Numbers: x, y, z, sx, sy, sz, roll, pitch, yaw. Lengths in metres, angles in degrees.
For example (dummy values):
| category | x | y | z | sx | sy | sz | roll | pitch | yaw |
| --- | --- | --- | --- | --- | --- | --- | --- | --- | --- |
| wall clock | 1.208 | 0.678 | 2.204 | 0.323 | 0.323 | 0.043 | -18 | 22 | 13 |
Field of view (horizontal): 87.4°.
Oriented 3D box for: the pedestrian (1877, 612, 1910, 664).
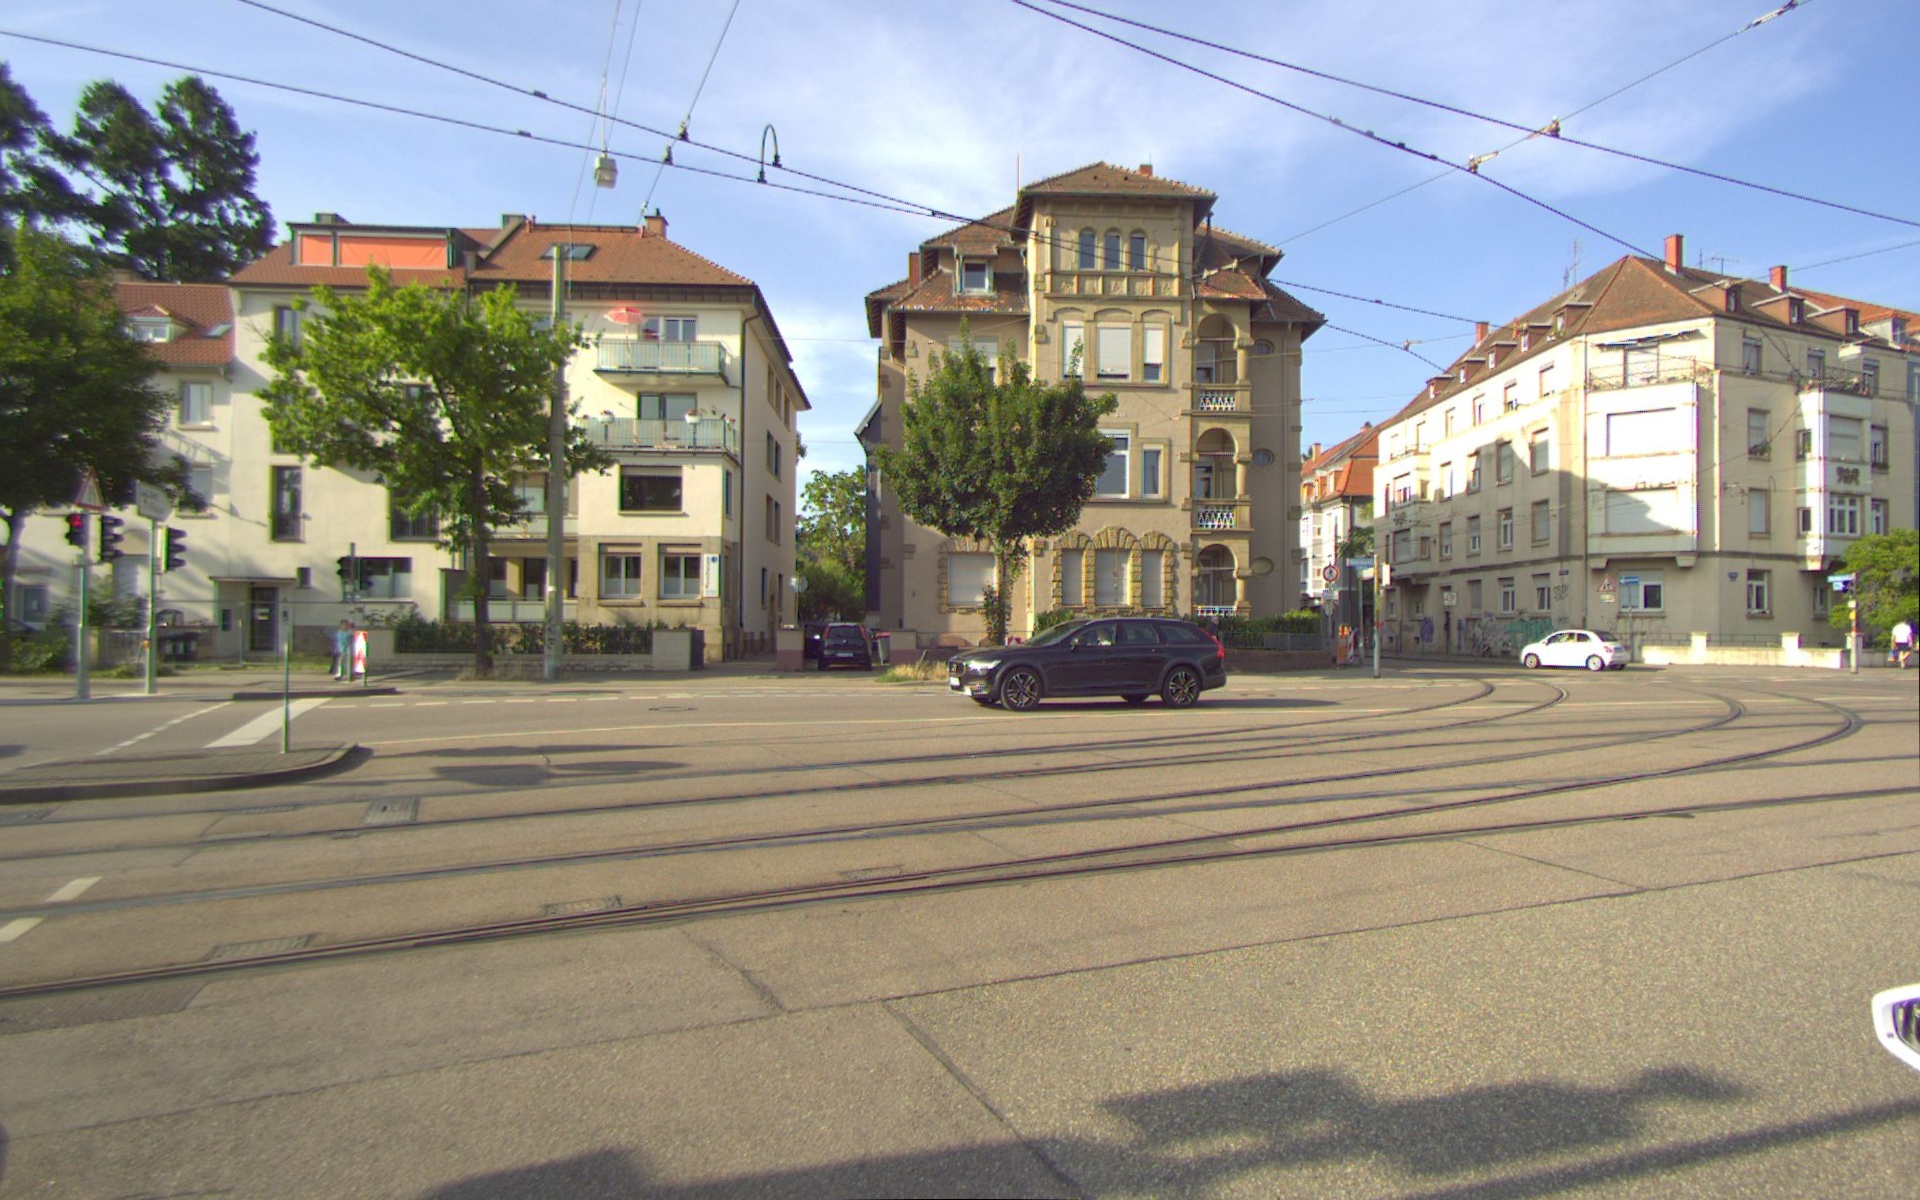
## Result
| category | x | y | z | sx | sy | sz | roll | pitch | yaw |
| --- | --- | --- | --- | --- | --- | --- | --- | --- | --- |
| pedestrian | 34.345 | 1.389 | 36.958 | 0.617 | 1.906 | 0.657 | 0 | -1 | -23 |

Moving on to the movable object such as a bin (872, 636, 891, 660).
| category | x | y | z | sx | sy | sz | roll | pitch | yaw |
| --- | --- | --- | --- | --- | --- | --- | --- | --- | --- |
| movable object such as a bin | -2.765 | 1.698 | 35.435 | 0.599 | 0.825 | 0.654 | 0 | -1 | -10 |

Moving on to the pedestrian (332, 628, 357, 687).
| category | x | y | z | sx | sy | sz | roll | pitch | yaw |
| --- | --- | --- | --- | --- | --- | --- | --- | --- | --- |
| pedestrian | -16.063 | 1.487 | 26.209 | 0.382 | 1.536 | 0.405 | 0 | -1 | 0 |

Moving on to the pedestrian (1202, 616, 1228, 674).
| category | x | y | z | sx | sy | sz | roll | pitch | yaw |
| --- | --- | --- | --- | --- | --- | --- | --- | --- | --- |
| pedestrian | 7.400 | 1.303 | 29.205 | 0.592 | 1.673 | 0.681 | 0 | -1 | 0 |

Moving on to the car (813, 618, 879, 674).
| category | x | y | z | sx | sy | sz | roll | pitch | yaw |
| --- | --- | --- | --- | --- | --- | --- | --- | --- | --- |
| car | -3.572 | 1.418 | 32.006 | 1.741 | 1.653 | 4.000 | 0 | -1 | -2 |

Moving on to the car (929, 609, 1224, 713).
| category | x | y | z | sx | sy | sz | roll | pitch | yaw |
| --- | --- | --- | --- | --- | --- | --- | --- | --- | --- |
| car | 1.980 | 0.961 | 17.001 | 4.673 | 1.514 | 1.764 | -1 | -1 | -21 |

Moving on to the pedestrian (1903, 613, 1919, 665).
| category | x | y | z | sx | sy | sz | roll | pitch | yaw |
| --- | --- | --- | --- | --- | --- | --- | --- | --- | --- |
| pedestrian | 34.822 | 1.395 | 36.408 | 0.640 | 1.872 | 0.673 | 0 | -1 | -19 |

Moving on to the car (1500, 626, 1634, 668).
| category | x | y | z | sx | sy | sz | roll | pitch | yaw |
| --- | --- | --- | --- | --- | --- | --- | --- | --- | --- |
| car | 22.648 | 1.739 | 37.612 | 1.778 | 1.476 | 3.969 | 1 | -2 | -30 |

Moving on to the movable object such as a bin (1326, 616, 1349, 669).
| category | x | y | z | sx | sy | sz | roll | pitch | yaw |
| --- | --- | --- | --- | --- | --- | --- | --- | --- | --- |
| movable object such as a bin | 12.904 | 1.438 | 34.303 | 0.259 | 1.732 | 2.377 | -1 | -2 | 32 |

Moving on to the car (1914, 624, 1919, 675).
| category | x | y | z | sx | sy | sz | roll | pitch | yaw |
| --- | --- | --- | --- | --- | --- | --- | --- | --- | --- |
| car | 29.184 | 1.381 | 28.187 | 3.935 | 1.452 | 1.766 | 0 | -1 | -17 |

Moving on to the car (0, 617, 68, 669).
| category | x | y | z | sx | sy | sz | roll | pitch | yaw |
| --- | --- | --- | --- | --- | --- | --- | --- | --- | --- |
| car | -30.129 | 1.307 | 30.914 | 1.820 | 1.578 | 4.000 | 0 | -2 | -1 |
